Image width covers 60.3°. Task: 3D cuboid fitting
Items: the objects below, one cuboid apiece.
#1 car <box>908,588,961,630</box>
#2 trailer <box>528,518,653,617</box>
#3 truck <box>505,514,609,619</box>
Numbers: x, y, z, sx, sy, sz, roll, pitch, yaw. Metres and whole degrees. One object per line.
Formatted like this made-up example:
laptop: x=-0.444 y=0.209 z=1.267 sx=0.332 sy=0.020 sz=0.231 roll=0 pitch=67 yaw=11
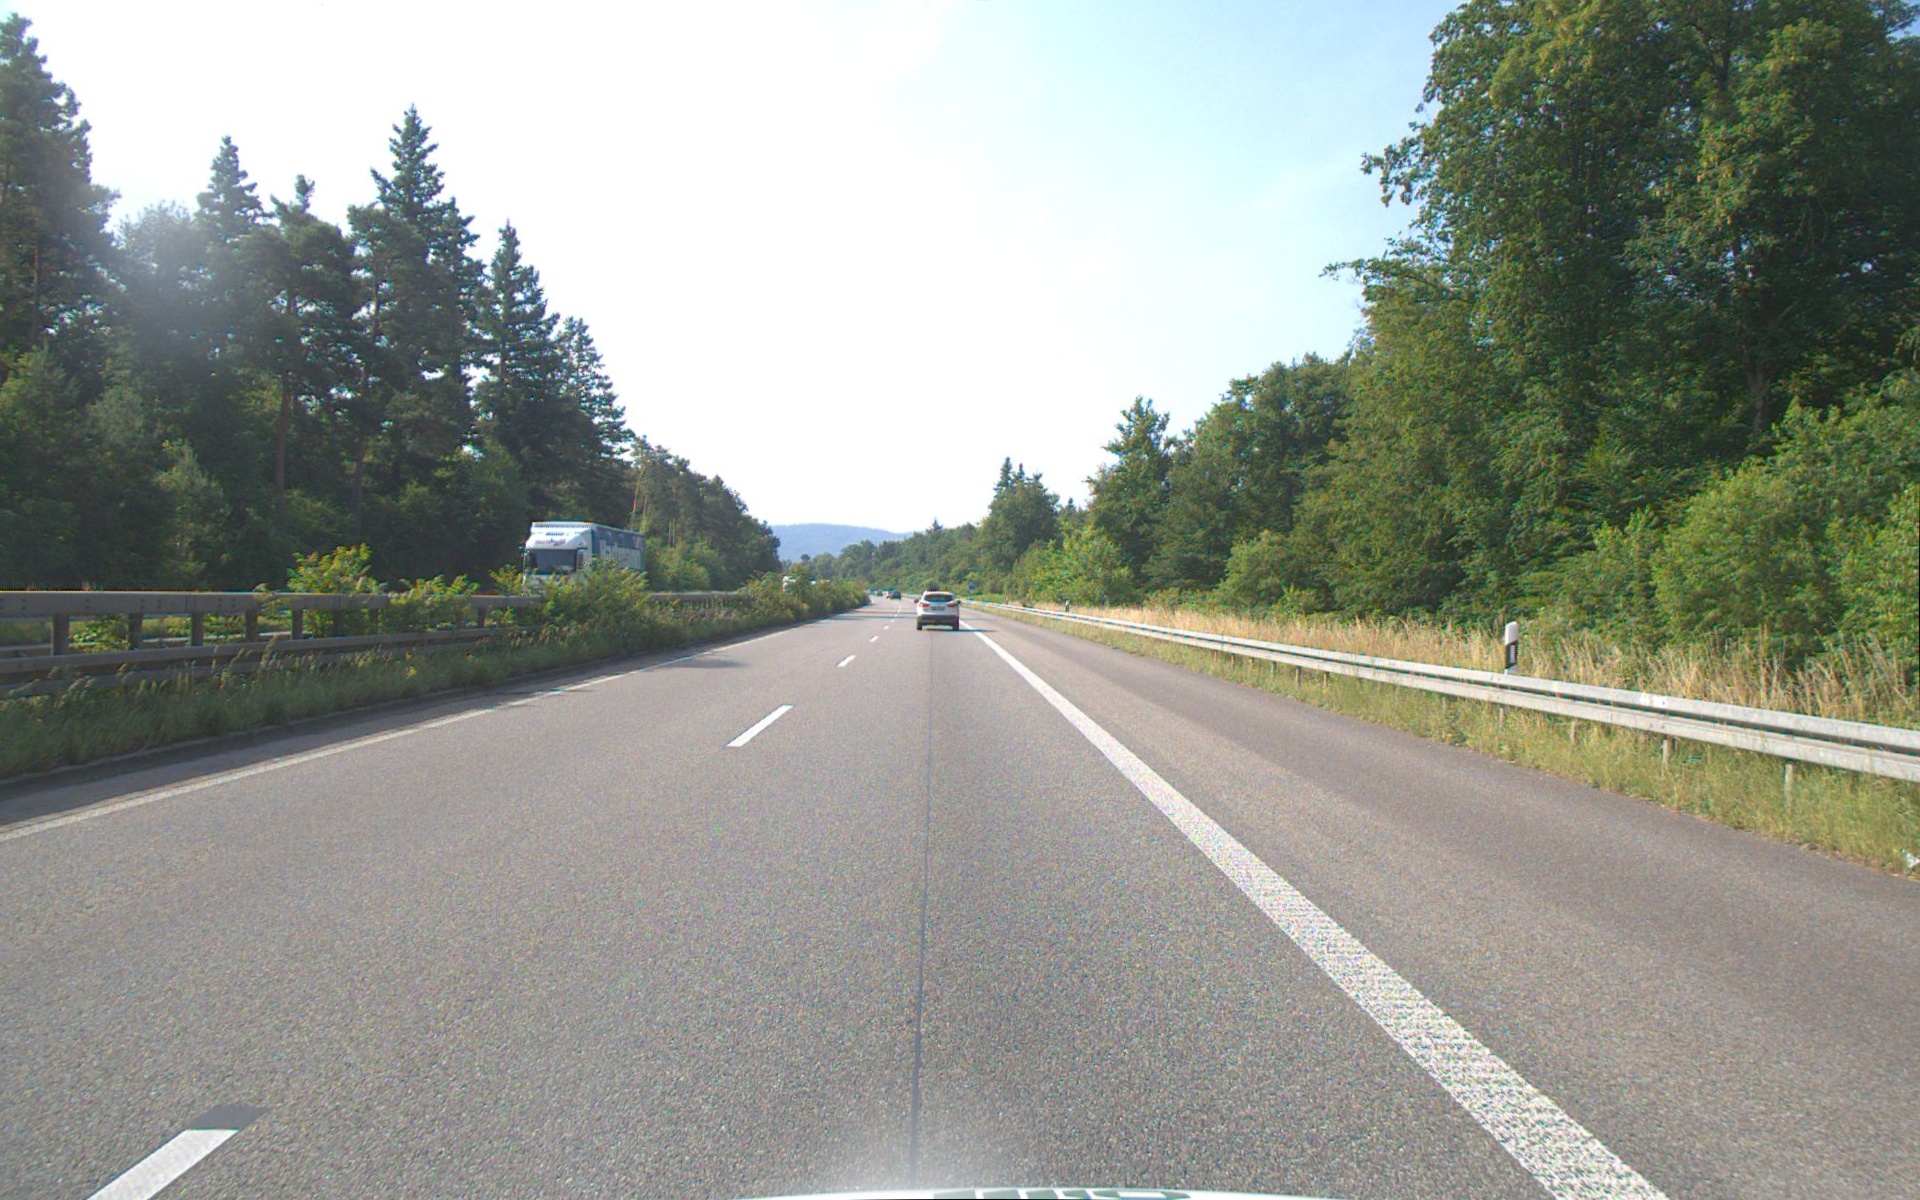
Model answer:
car: x=-1.089 y=0.371 z=69.469 sx=1.837 sy=1.614 sz=3.995 roll=3 pitch=0 yaw=-6
trailer: x=-16.564 y=-1.390 z=75.279 sx=2.834 sy=4.078 sz=13.320 roll=-1 pitch=0 yaw=-1
truck: x=-16.507 y=-1.323 z=68.143 sx=2.834 sy=4.102 sz=6.024 roll=-1 pitch=0 yaw=-1
